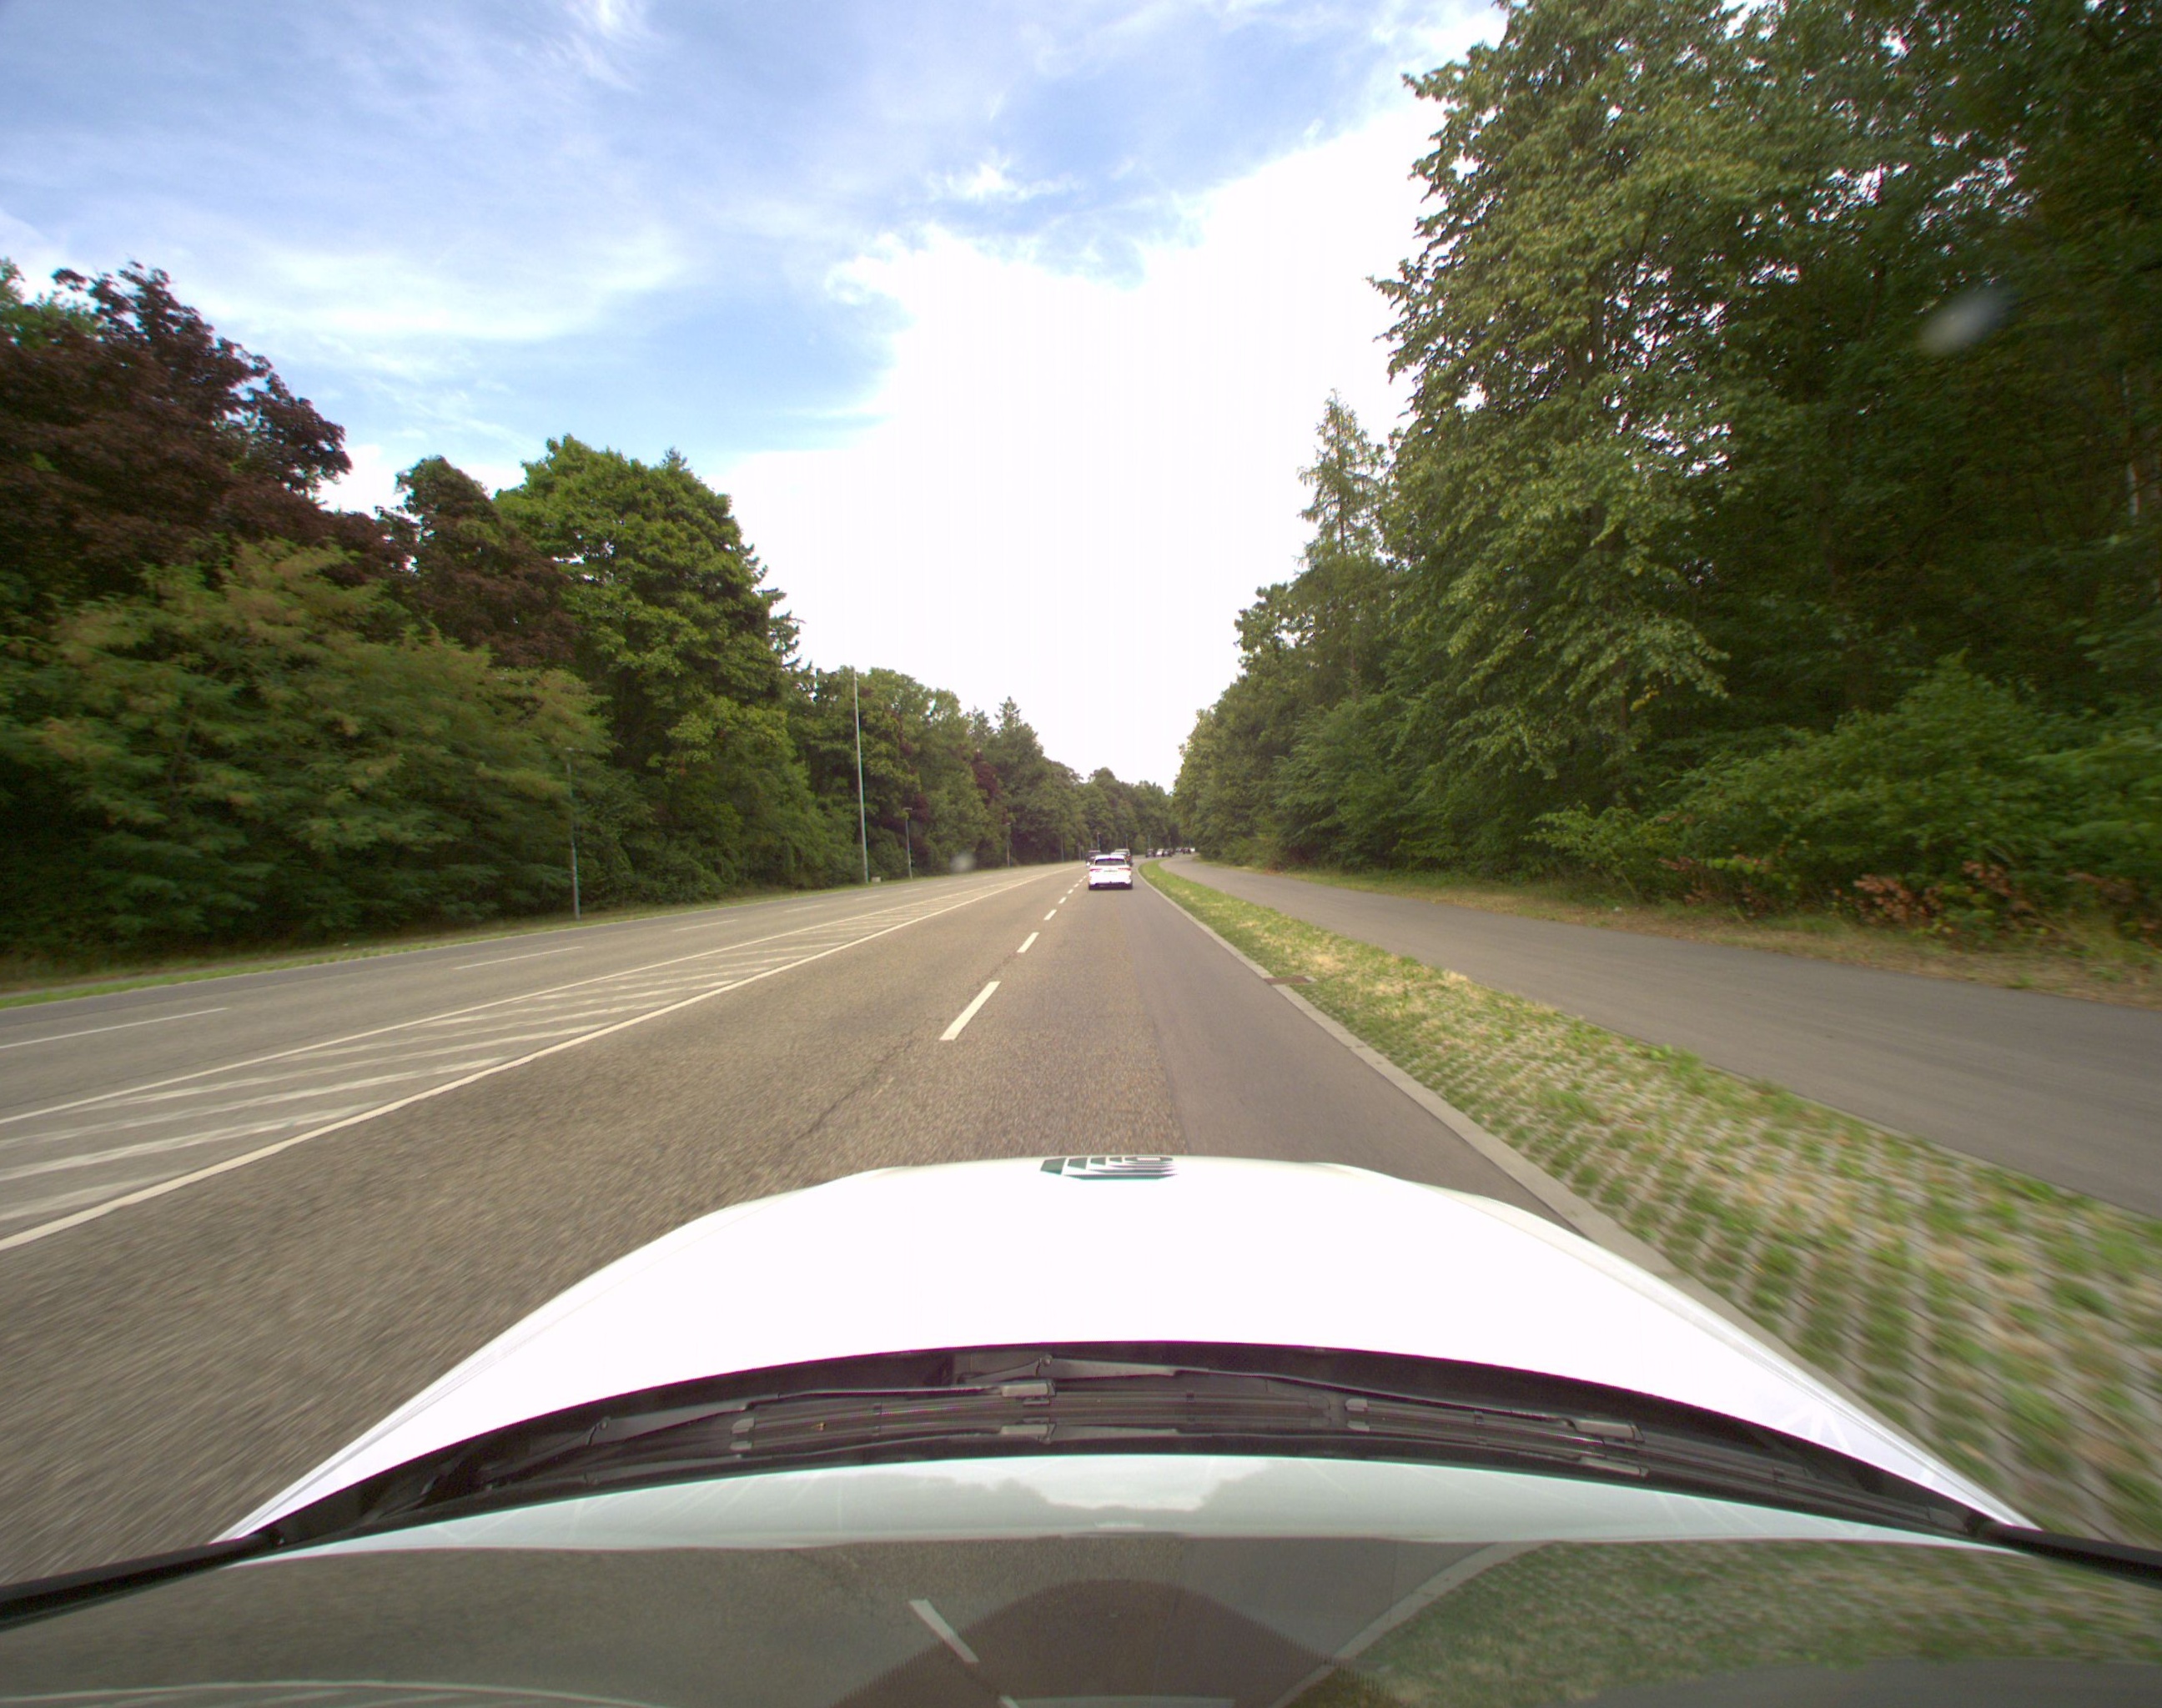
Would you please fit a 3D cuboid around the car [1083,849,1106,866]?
[{"bbox_3d":[1.453,0.395,85.475,1.983,1.787,4.007,0,-1,6],"label":"car"}]

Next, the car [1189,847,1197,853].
[{"bbox_3d":[33.855,-1.296,245.962,1.874,1.816,4.015,0,-1,14],"label":"car"}]

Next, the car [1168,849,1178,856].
[{"bbox_3d":[22.530,-0.305,199.349,1.981,1.783,4.012,0,-1,11],"label":"car"}]

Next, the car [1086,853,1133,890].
[{"bbox_3d":[1.167,0.702,34.027,1.830,1.410,4.491,0,-1,1],"label":"car"}]

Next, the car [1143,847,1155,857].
[{"bbox_3d":[13.595,-0.378,162.509,1.981,1.783,4.011,0,-1,10],"label":"car"}]

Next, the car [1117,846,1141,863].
[{"bbox_3d":[4.721,0.058,79.912,1.982,1.607,4.010,0,-1,9],"label":"car"}]

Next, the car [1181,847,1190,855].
[{"bbox_3d":[26.381,-0.786,205.912,1.980,1.783,4.013,0,-1,12],"label":"car"}]

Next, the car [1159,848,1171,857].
[{"bbox_3d":[16.550,-0.252,161.026,1.980,1.783,4.012,0,-1,11],"label":"car"}]

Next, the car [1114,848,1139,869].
[{"bbox_3d":[3.190,0.342,57.423,1.630,1.420,4.000,0,-1,1],"label":"car"}]

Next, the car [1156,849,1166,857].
[{"bbox_3d":[17.736,-0.236,180.577,1.981,1.783,4.012,0,-1,11],"label":"car"}]
